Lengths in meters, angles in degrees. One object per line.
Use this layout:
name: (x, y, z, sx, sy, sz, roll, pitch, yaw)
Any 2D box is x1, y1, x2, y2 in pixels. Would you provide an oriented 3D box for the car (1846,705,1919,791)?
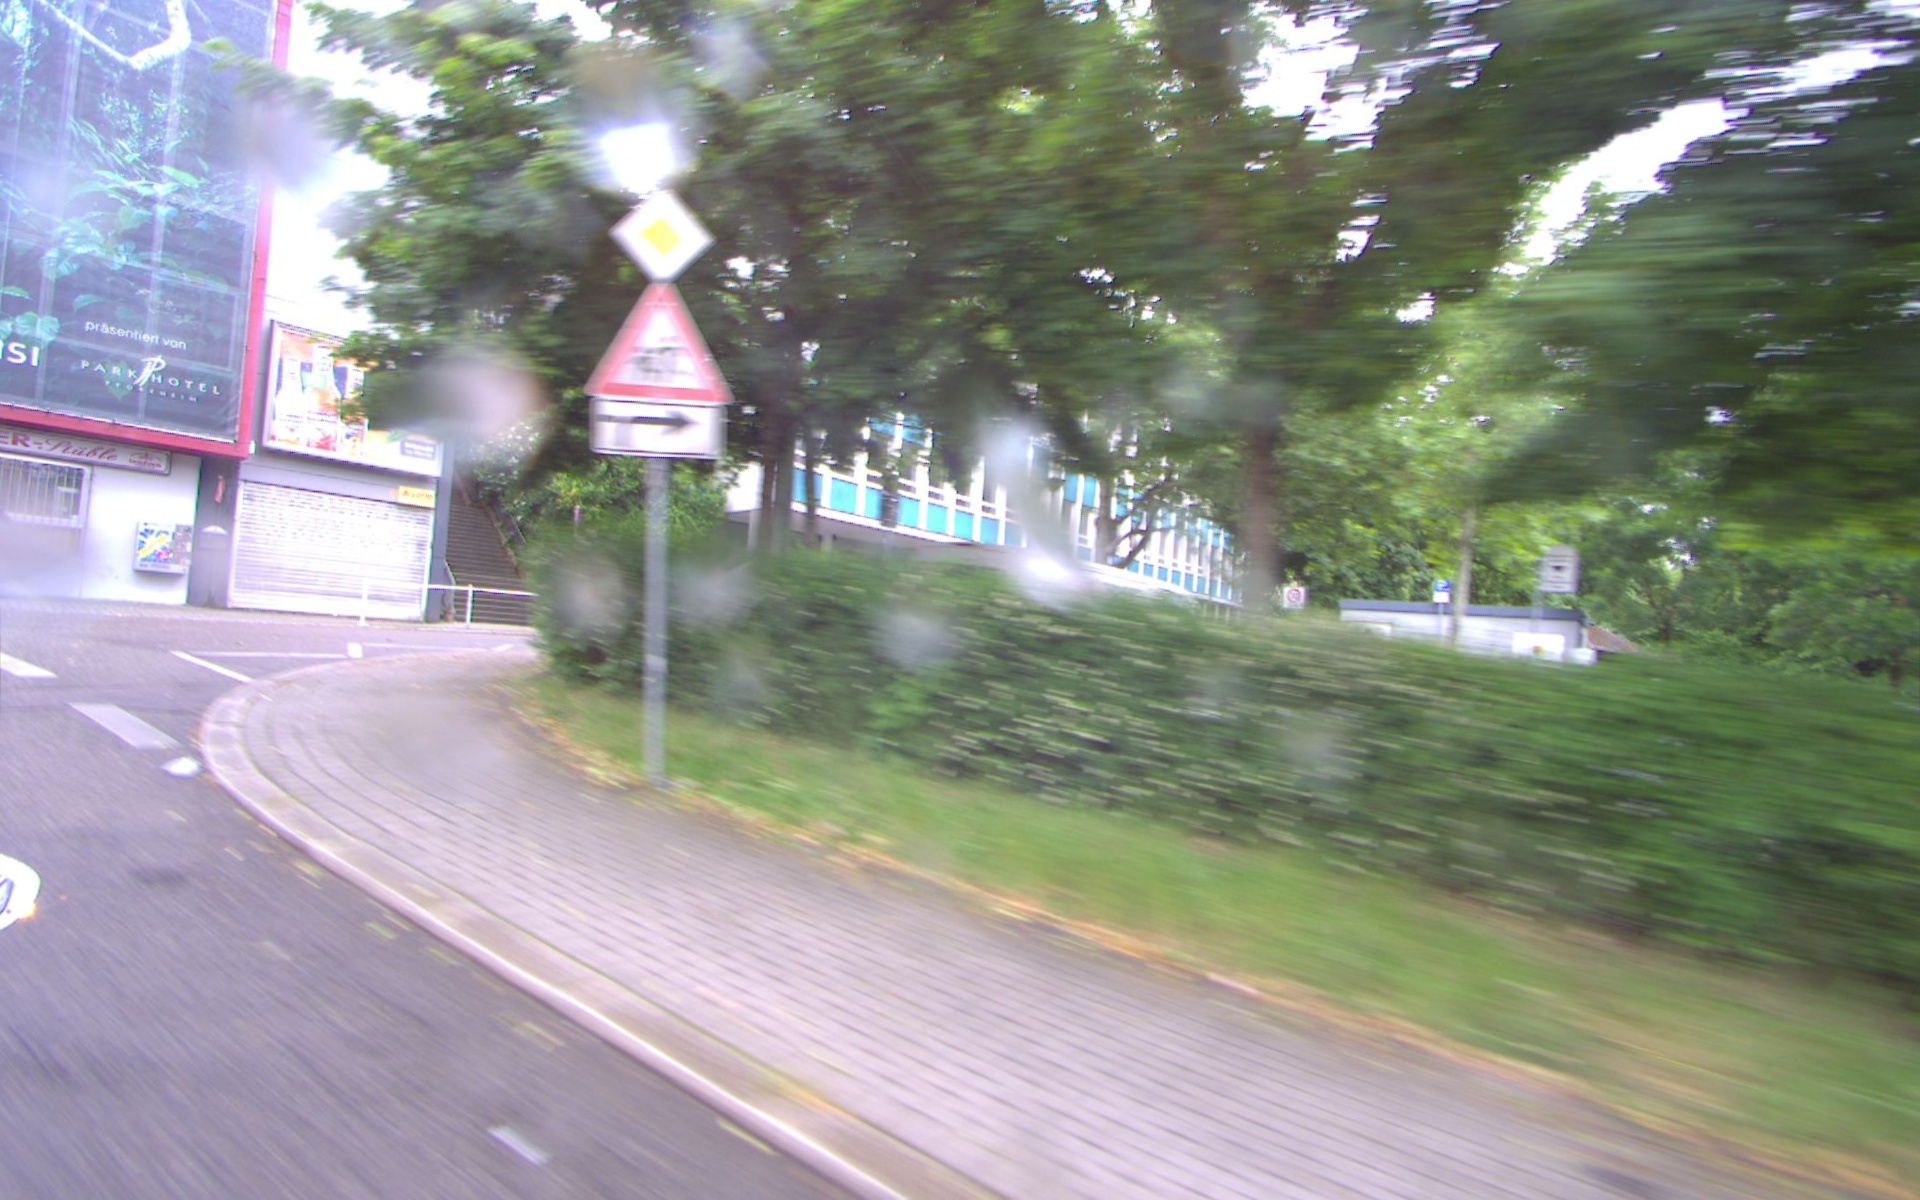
car: (20.812, 3.224, 21.908, 1.773, 1.629, 3.987, 5, -1, 36)

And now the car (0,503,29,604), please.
car: (-18.645, -1.008, 17.139, 3.975, 1.732, 1.909, 6, -1, -44)

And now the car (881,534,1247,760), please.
car: (1.320, 0.611, 11.125, 1.615, 1.983, 4.191, 7, -1, 44)

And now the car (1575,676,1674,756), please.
car: (16.620, 2.851, 25.076, 1.773, 1.629, 3.987, 5, -1, 36)

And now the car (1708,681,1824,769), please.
car: (18.462, 2.827, 23.203, 1.773, 1.629, 3.987, 5, -1, 36)

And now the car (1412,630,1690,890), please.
car: (5.462, 1.322, 9.236, 1.611, 1.640, 4.203, 7, -1, 33)

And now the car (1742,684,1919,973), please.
car: (6.707, 1.484, 6.893, 1.611, 1.500, 4.203, 7, -1, 33)
